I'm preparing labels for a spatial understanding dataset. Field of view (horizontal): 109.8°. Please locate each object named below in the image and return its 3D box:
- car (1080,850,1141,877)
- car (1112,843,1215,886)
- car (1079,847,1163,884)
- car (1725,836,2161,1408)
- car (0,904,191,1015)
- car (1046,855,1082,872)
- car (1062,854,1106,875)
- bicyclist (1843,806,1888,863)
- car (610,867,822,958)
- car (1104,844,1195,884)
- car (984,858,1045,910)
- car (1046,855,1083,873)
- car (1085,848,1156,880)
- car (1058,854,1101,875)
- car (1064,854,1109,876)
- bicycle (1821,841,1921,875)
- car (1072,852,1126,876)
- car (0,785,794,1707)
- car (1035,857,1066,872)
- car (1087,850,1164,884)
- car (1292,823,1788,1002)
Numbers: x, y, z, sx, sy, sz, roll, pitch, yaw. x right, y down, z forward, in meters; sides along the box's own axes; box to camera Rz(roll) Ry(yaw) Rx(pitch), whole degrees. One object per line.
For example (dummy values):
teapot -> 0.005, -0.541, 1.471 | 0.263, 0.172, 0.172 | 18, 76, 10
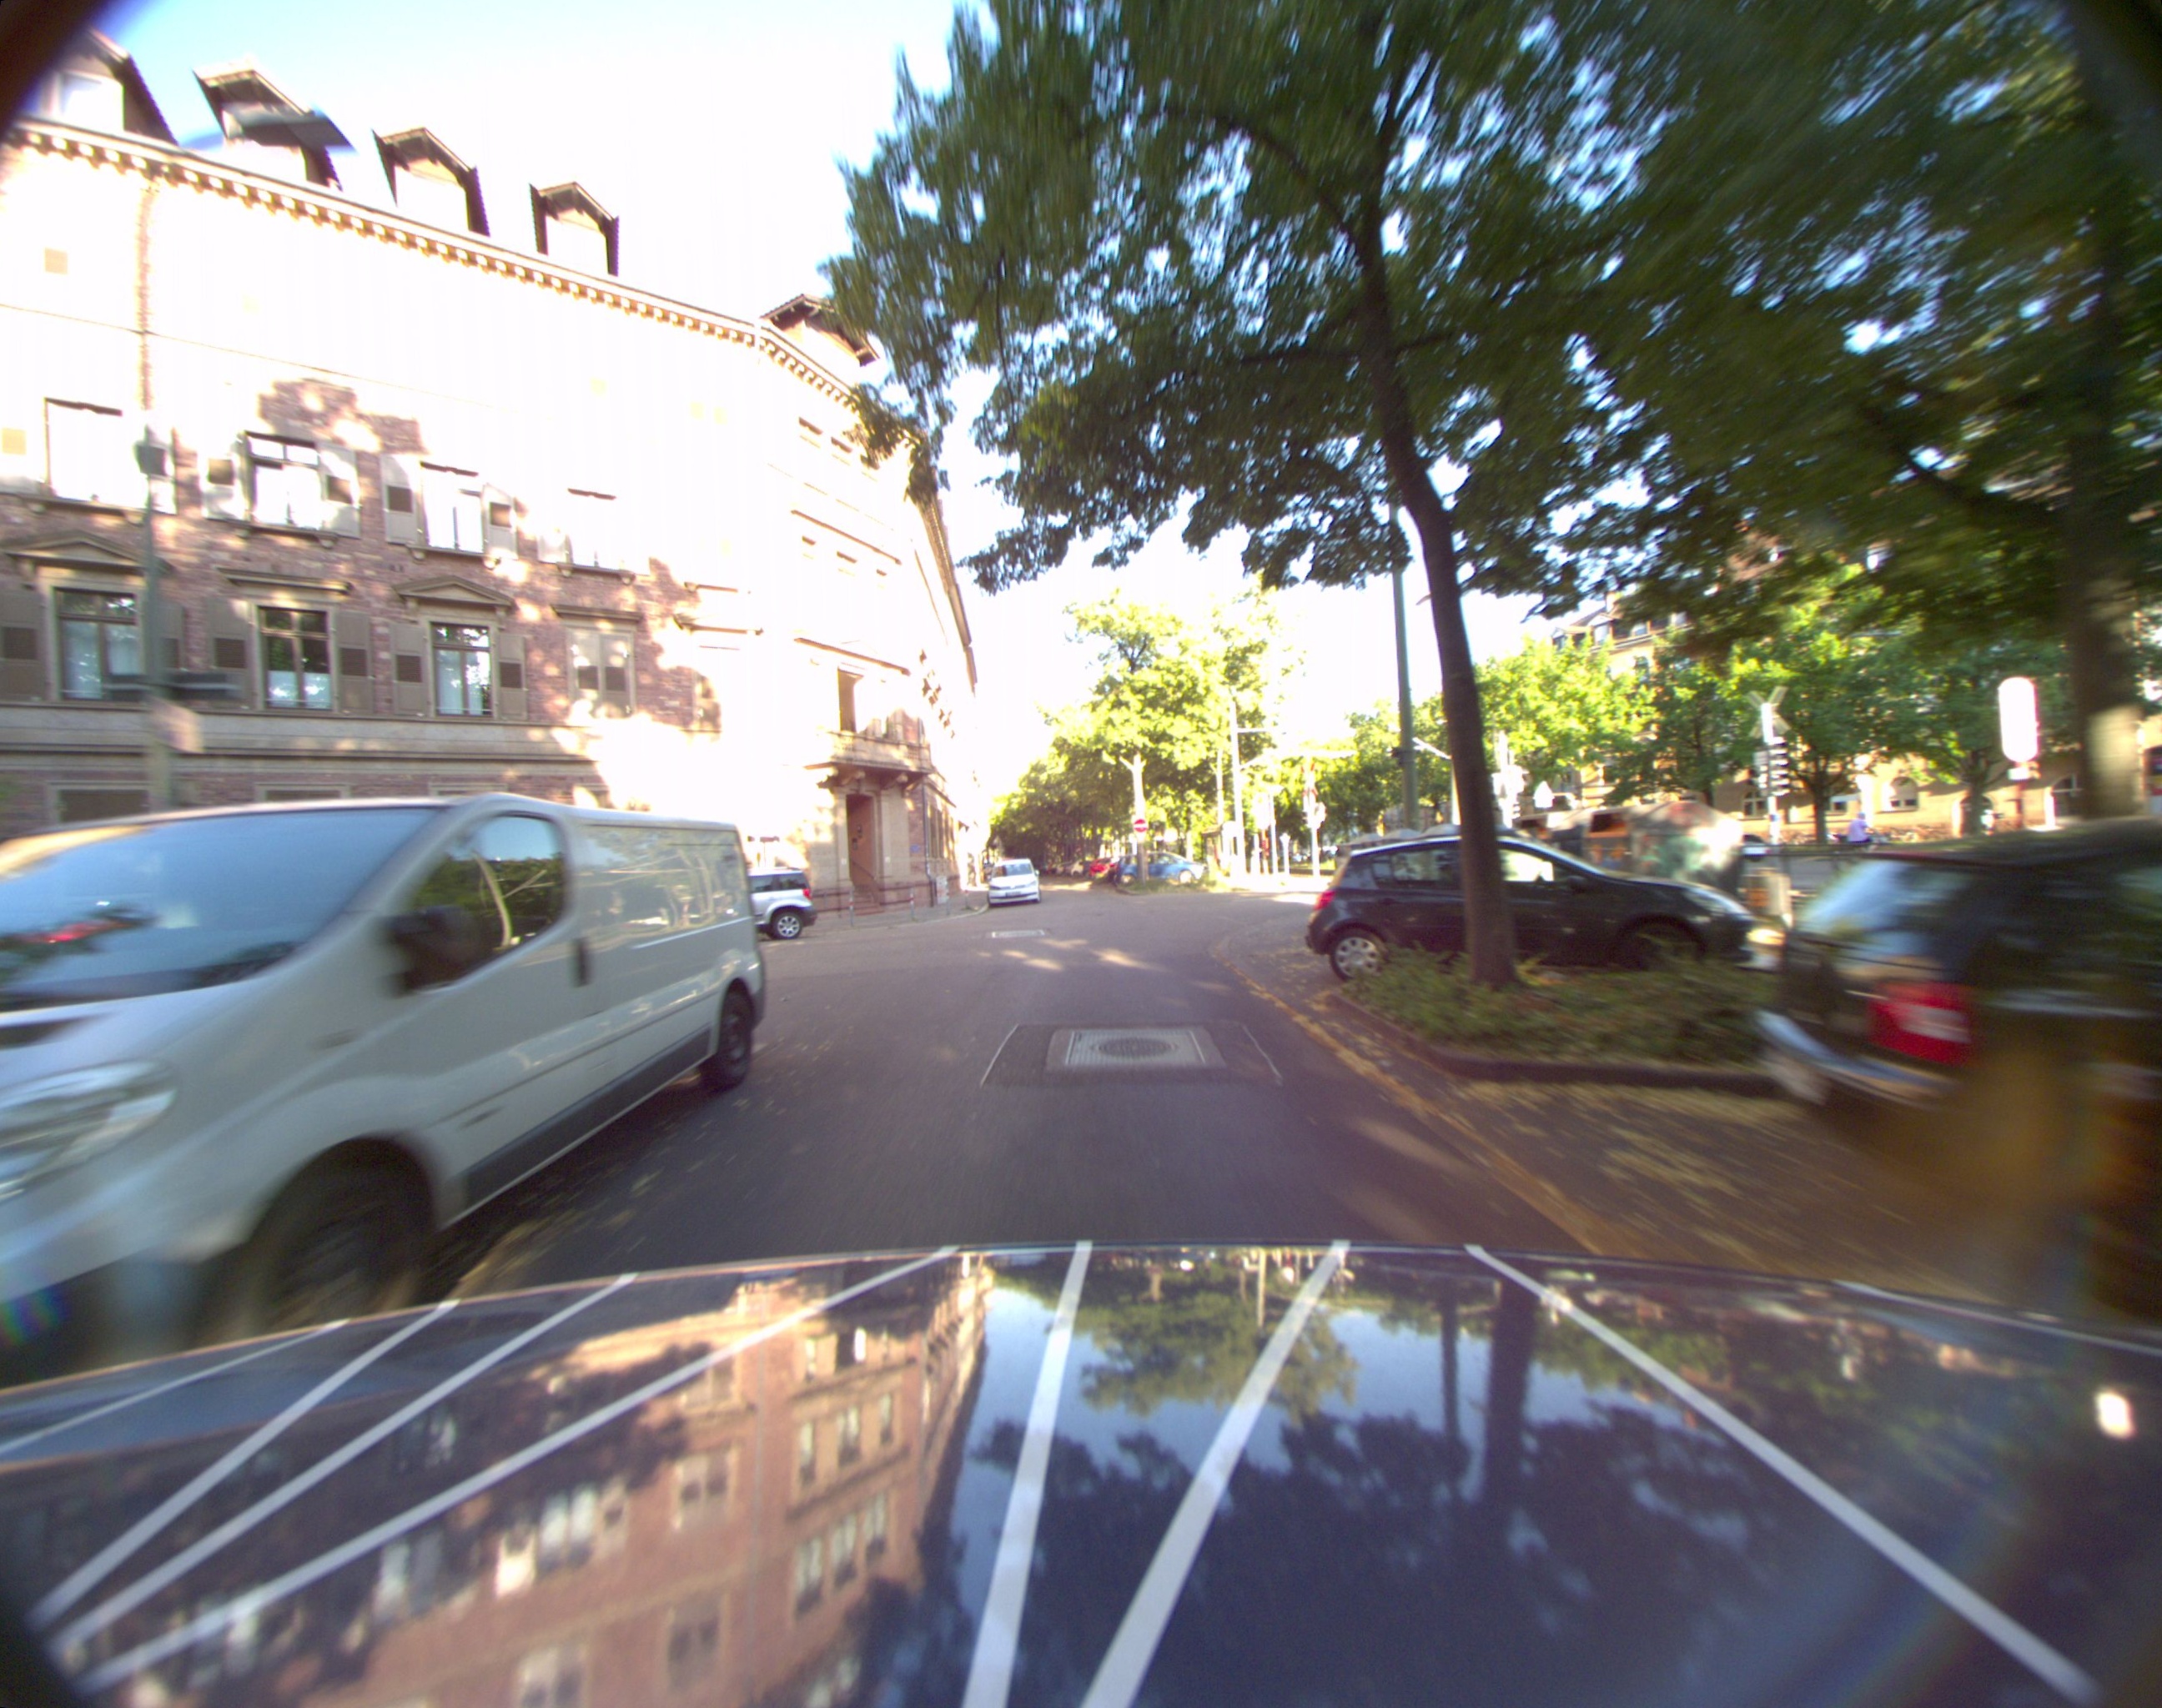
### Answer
car -> 2.280, 0.738, 58.699 | 4.234, 1.658, 1.637 | -5, 1, 23
car -> 3.901, 0.508, 36.135 | 4.434, 1.613, 1.637 | -5, 1, 23
car -> 2.217, 0.656, 42.282 | 4.234, 1.613, 1.637 | -5, 1, 23
car -> 4.464, 0.652, 2.156 | 3.687, 1.440, 1.637 | -5, 1, 29
car -> -17.131, 1.707, 11.747 | 4.005, 1.555, 1.681 | -3, -2, -27
car -> -2.098, 1.187, 94.894 | 4.240, 1.658, 1.634 | -6, 1, 0
car -> 0.279, 1.041, 75.795 | 4.240, 1.658, 1.634 | -6, 1, 0
bicyclist -> 22.174, -0.545, 21.476 | 0.680, 1.581, 0.552 | -2, 1, -3
car -> -8.060, 1.253, 16.994 | 4.005, 1.637, 1.681 | -3, -2, -27
car -> 3.528, 0.506, 39.132 | 4.234, 1.613, 1.637 | -5, 1, 23
car -> -2.541, 1.048, 28.593 | 1.942, 1.613, 4.241 | -6, 1, -6
car -> -1.923, 1.113, 89.296 | 4.240, 1.658, 1.634 | -6, 1, 0
car -> 2.579, 0.680, 49.961 | 4.234, 1.658, 1.637 | -5, 1, 23
car -> -0.158, 1.061, 78.124 | 4.240, 1.658, 1.634 | -6, 1, 0
car -> 0.531, 1.020, 73.631 | 4.240, 1.658, 1.634 | -6, 1, 0
bicycle -> 22.336, 0.115, 21.494 | 2.266, 0.853, 0.642 | -2, 0, -4
car -> 1.535, 0.842, 65.556 | 4.234, 1.658, 1.637 | -5, 1, 23
car -> -3.378, 0.863, 3.812 | 1.971, 1.924, 5.454 | -3, 0, -3
car -> -4.321, 1.476, 107.326 | 4.240, 1.658, 1.634 | -6, 1, 0
car -> 2.682, 0.784, 46.061 | 4.234, 1.613, 1.637 | -5, 1, 23
car -> 4.388, 0.608, 7.836 | 3.888, 1.440, 1.637 | -5, 1, 29
